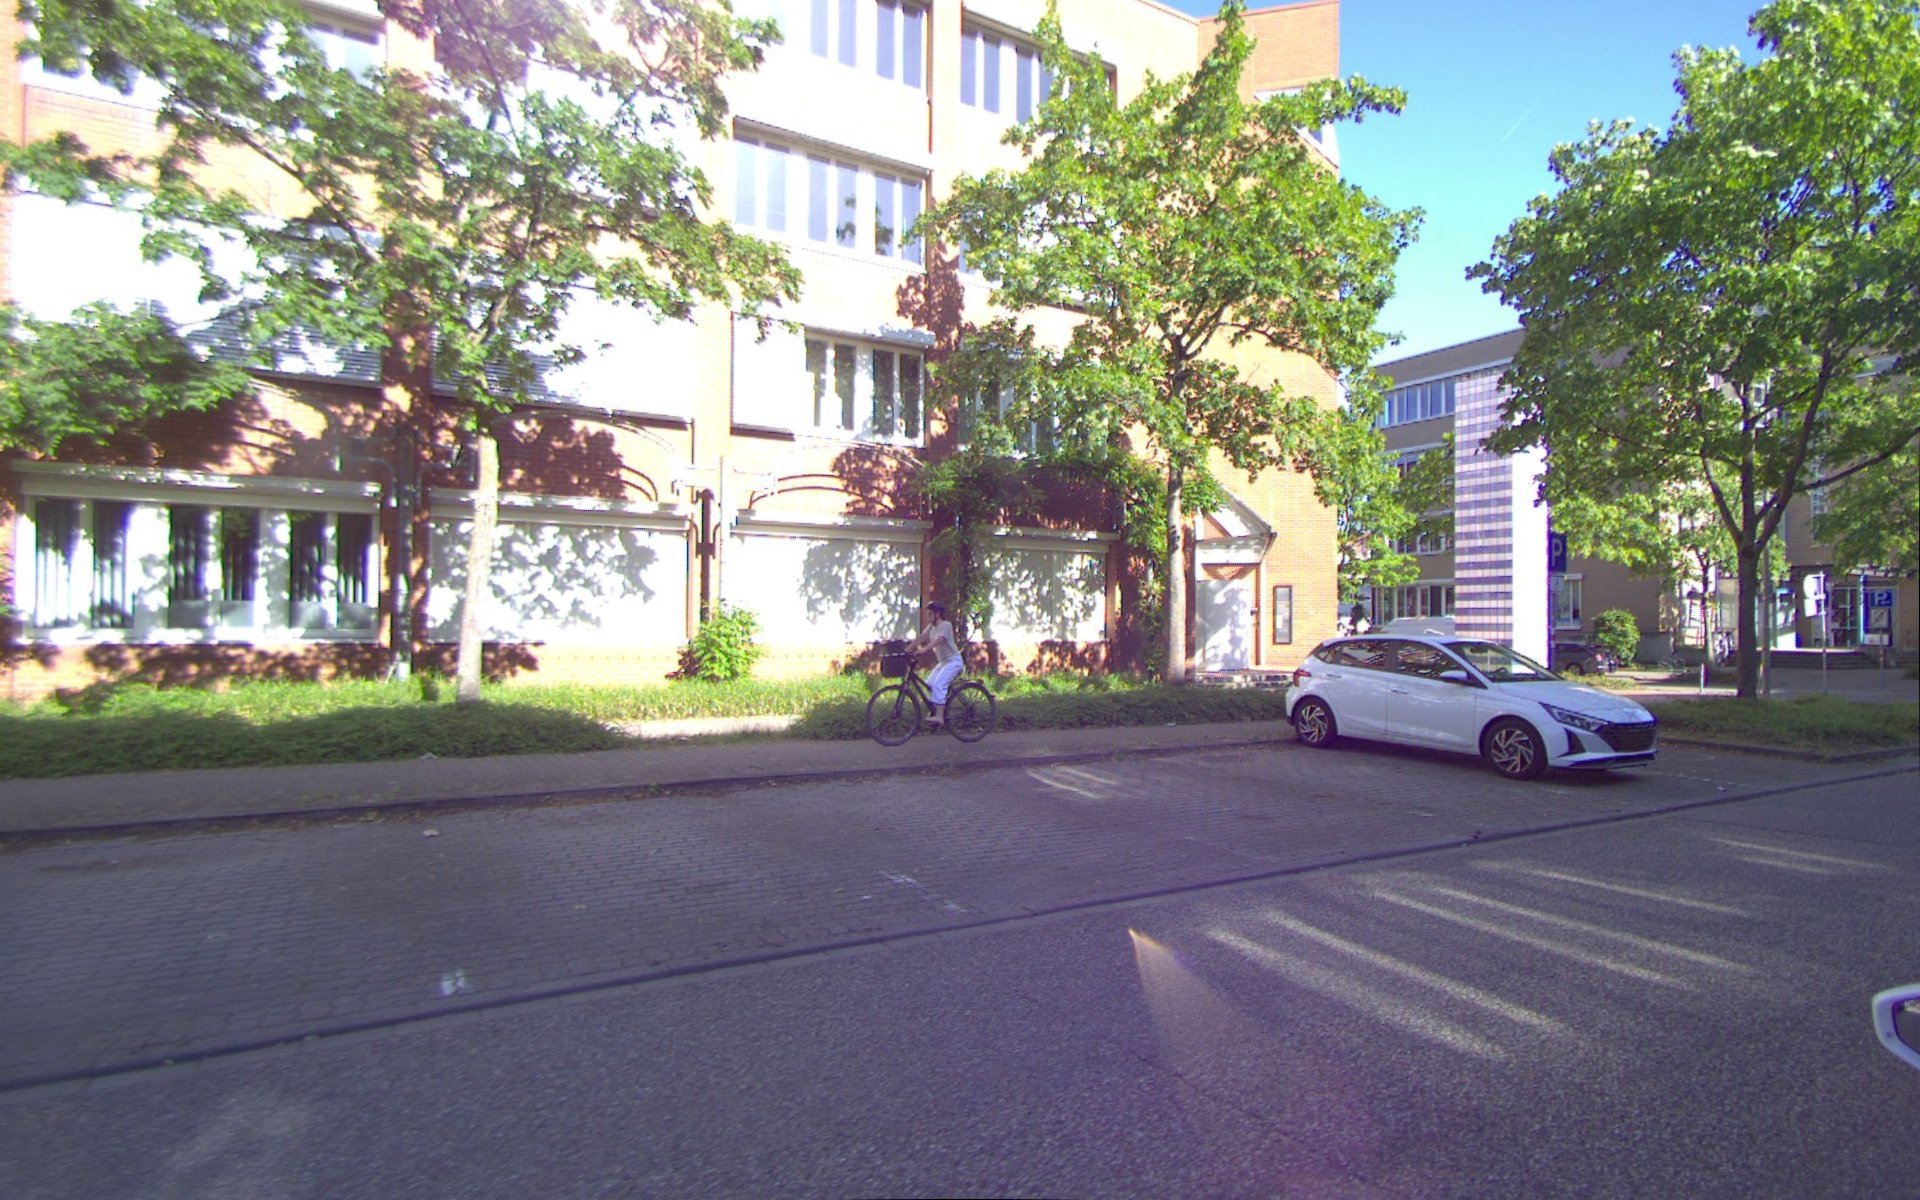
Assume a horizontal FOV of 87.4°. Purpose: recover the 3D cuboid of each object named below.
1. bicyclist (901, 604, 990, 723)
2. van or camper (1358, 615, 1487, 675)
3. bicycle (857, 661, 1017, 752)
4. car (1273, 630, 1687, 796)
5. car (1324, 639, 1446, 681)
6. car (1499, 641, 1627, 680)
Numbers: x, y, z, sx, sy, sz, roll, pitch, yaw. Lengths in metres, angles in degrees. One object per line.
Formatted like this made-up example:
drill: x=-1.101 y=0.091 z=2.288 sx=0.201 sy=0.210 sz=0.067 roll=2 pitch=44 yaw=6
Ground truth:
bicyclist: x=-0.180 y=0.753 z=12.072 sx=0.901 sy=1.371 sz=0.603 roll=1 pitch=-2 yaw=-26
van or camper: x=22.067 y=2.126 z=48.155 sx=2.155 sy=2.709 sz=5.344 roll=0 pitch=-2 yaw=-30
bicycle: x=-0.262 y=1.245 z=12.016 sx=1.839 sy=0.994 sz=0.603 roll=1 pitch=-2 yaw=-27
car: x=5.801 y=1.143 z=11.705 sx=1.786 sy=1.506 sz=3.967 roll=1 pitch=-1 yaw=-31
car: x=16.736 y=2.398 z=39.737 sx=1.977 sy=1.496 sz=4.174 roll=5 pitch=-5 yaw=-29
car: x=25.296 y=2.518 z=42.292 sx=1.976 sy=1.496 sz=4.174 roll=0 pitch=-2 yaw=-29
